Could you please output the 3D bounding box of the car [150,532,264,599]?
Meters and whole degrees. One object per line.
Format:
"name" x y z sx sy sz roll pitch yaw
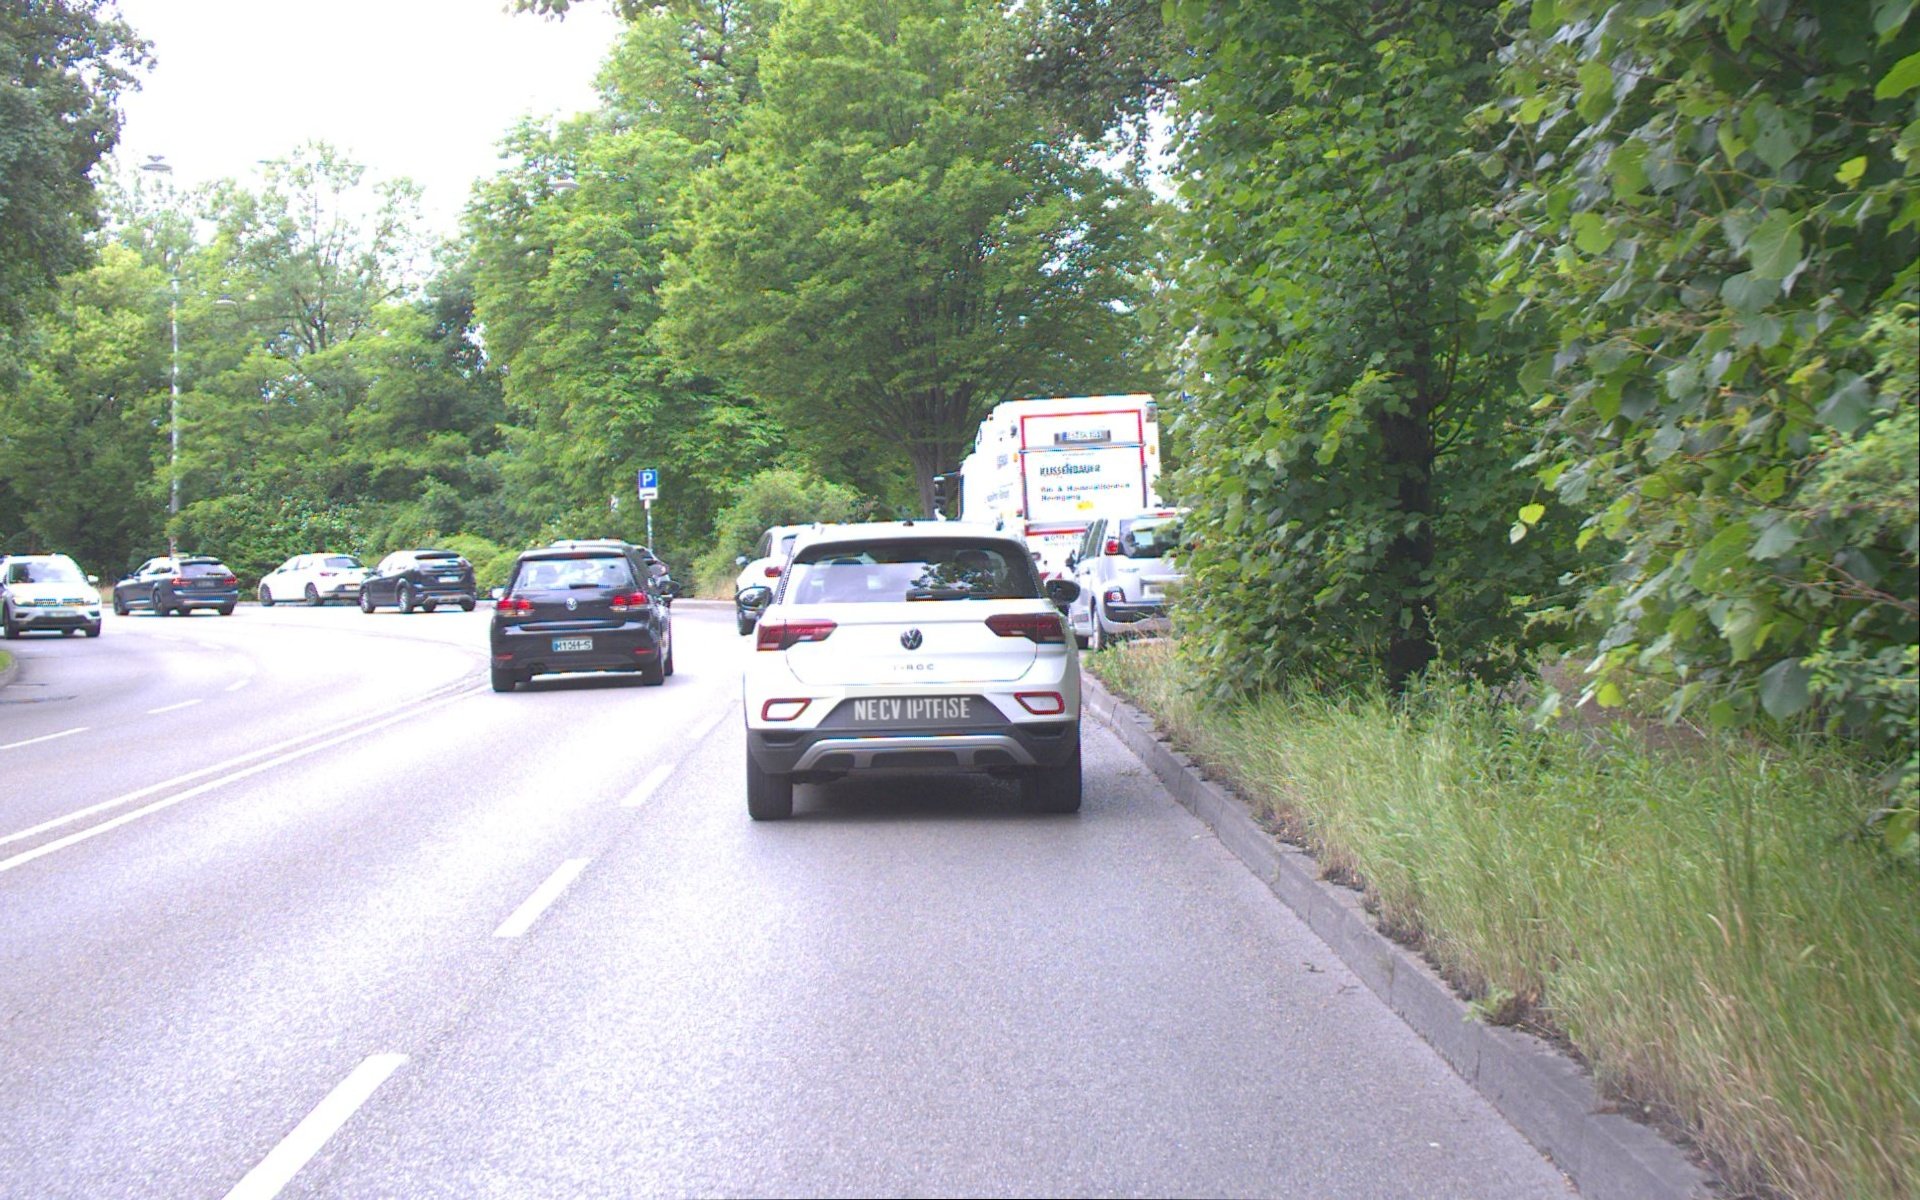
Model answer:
"car" -18.606 -0.858 85.062 1.993 1.586 4.000 1 1 -1

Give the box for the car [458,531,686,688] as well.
"car" -4.005 0.068 36.063 1.949 1.461 4.000 -3 1 -1

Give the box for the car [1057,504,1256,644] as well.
"car" 2.197 -0.312 39.475 1.802 1.519 4.001 0 1 -4

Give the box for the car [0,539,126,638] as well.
"car" -19.134 -0.269 68.724 4.425 1.688 1.861 2 7 18

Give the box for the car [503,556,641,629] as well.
"car" -9.379 -0.191 82.855 1.758 1.646 4.381 -3 2 -28

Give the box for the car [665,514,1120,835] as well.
"car" -0.501 0.348 19.256 2.000 1.590 4.001 1 1 -9

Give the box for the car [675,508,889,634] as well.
"car" -2.678 -0.461 50.907 1.851 1.697 4.001 -3 3 -22

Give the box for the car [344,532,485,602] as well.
"car" -12.926 -0.791 81.293 1.766 1.601 4.000 1 1 -34

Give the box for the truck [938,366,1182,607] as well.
"truck" 1.310 -1.564 49.459 2.481 3.171 7.230 1 1 -6
